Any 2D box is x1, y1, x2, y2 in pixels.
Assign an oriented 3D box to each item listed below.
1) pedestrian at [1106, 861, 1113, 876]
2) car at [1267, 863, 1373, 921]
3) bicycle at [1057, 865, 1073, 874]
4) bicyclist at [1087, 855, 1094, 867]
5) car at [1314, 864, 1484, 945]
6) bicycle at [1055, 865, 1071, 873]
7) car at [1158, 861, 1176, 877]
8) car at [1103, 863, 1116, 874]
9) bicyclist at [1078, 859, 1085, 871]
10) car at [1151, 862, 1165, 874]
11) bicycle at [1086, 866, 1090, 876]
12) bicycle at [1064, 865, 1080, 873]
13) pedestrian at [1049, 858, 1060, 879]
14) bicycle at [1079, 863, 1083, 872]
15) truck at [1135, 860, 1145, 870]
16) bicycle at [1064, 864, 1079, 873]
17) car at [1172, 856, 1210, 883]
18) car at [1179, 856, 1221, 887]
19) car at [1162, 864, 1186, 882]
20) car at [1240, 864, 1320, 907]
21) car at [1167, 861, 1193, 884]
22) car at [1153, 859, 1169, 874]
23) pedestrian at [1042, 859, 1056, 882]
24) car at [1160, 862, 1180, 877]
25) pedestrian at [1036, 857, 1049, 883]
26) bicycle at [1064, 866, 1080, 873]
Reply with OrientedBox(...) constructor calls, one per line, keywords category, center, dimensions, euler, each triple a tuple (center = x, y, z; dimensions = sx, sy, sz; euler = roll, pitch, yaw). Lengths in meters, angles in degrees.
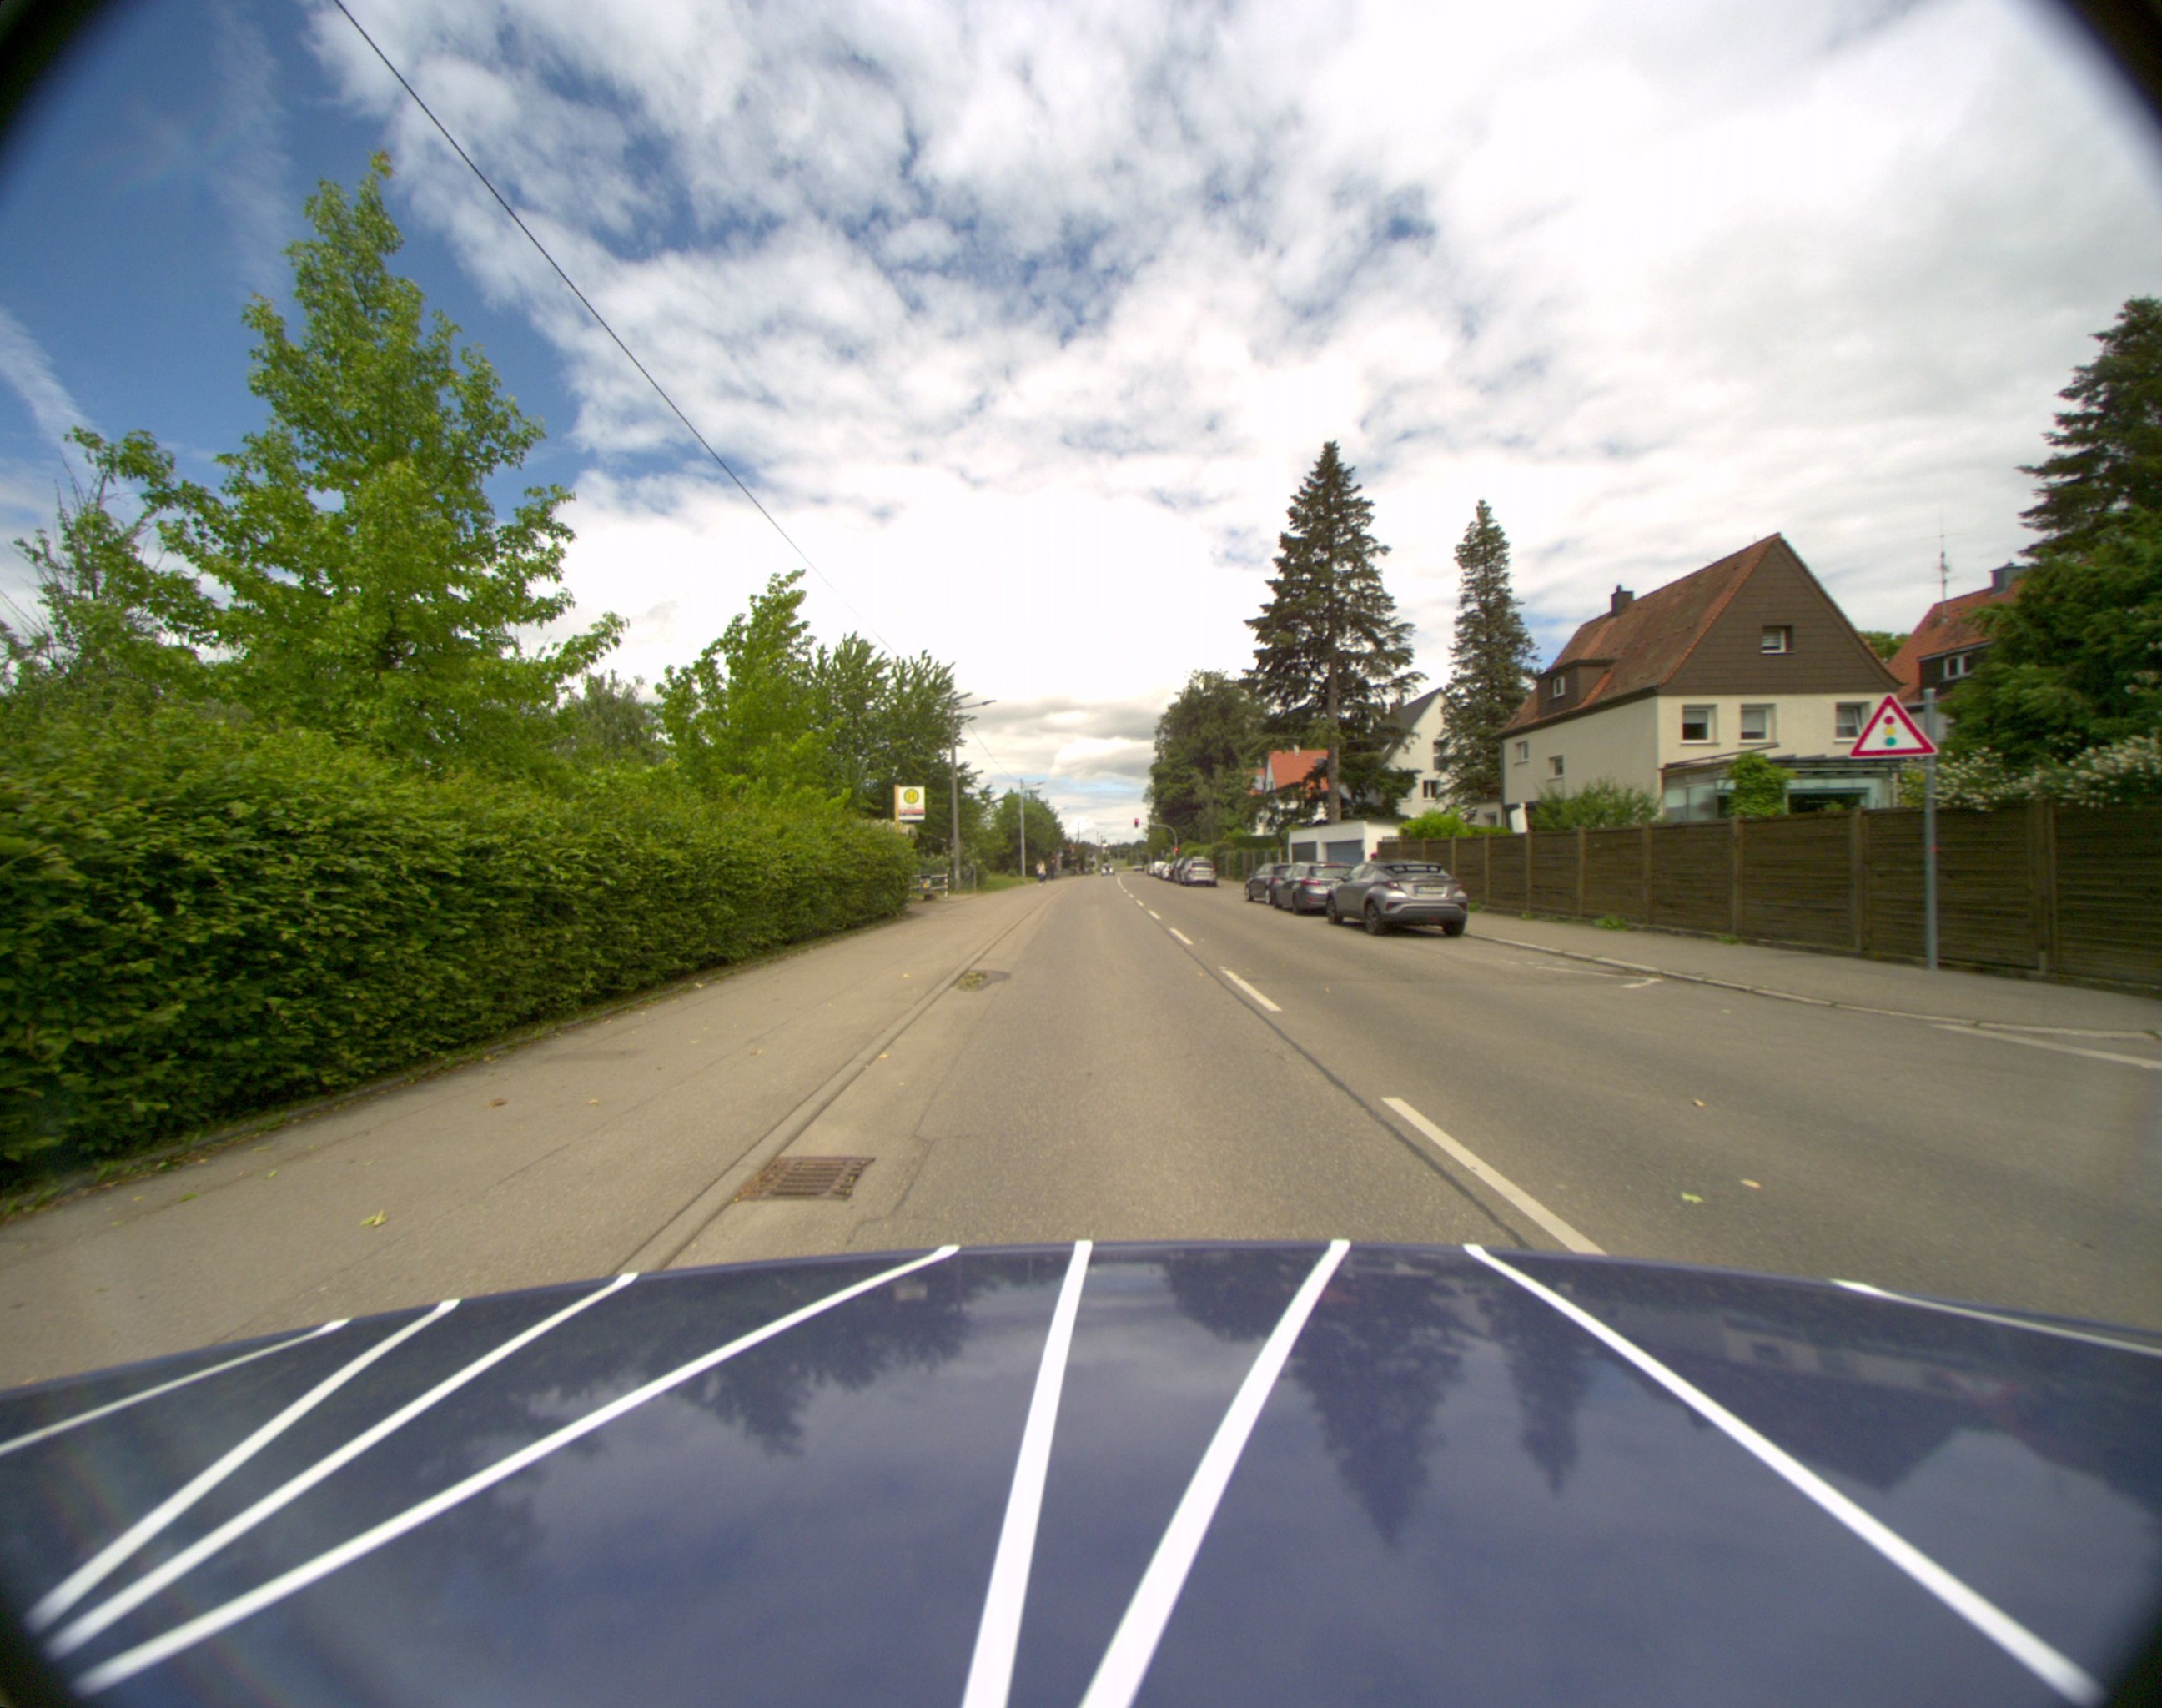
OrientedBox(category="pedestrian", center=(3.283, 1.648, 86.328), dimensions=(0.649, 1.654, 0.708), euler=(-2, 0, 8))
OrientedBox(category="car", center=(6.797, 1.016, 22.127), dimensions=(1.871, 1.450, 4.490), euler=(-1, 0, 3))
OrientedBox(category="bicycle", center=(-2.153, 2.091, 101.872), dimensions=(2.093, 1.041, 0.559), euler=(-4, 0, 6))
OrientedBox(category="bicyclist", center=(1.224, 0.895, 101.329), dimensions=(0.826, 1.529, 0.862), euler=(-2, 0, 1))
OrientedBox(category="car", center=(6.687, 0.977, 16.601), dimensions=(1.998, 1.471, 4.648), euler=(0, 0, 4))
OrientedBox(category="bicycle", center=(-2.379, 2.014, 100.478), dimensions=(2.092, 1.074, 0.547), euler=(0, 0, 6))
OrientedBox(category="car", center=(8.753, 1.511, 77.828), dimensions=(1.706, 1.534, 3.744), euler=(1, -1, 5))
OrientedBox(category="car", center=(3.798, 1.958, 100.939), dimensions=(1.665, 1.394, 3.901), euler=(-1, -1, 4))
OrientedBox(category="bicyclist", center=(0.070, 1.447, 100.394), dimensions=(0.826, 1.529, 0.862), euler=(-1, 0, 3))
OrientedBox(category="car", center=(9.960, 1.809, 98.115), dimensions=(1.708, 1.444, 4.360), euler=(2, 0, 7))
OrientedBox(category="bicycle", center=(0.981, 2.206, 101.303), dimensions=(0.451, 1.278, 2.208), euler=(-2, 0, -1))
OrientedBox(category="bicycle", center=(-1.274, 2.189, 108.902), dimensions=(2.206, 1.041, 0.451), euler=(-1, 0, 2))
OrientedBox(category="pedestrian", center=(-2.402, 1.318, 68.763), dimensions=(0.746, 1.871, 0.802), euler=(-2, 0, 9))
OrientedBox(category="bicycle", center=(0.003, 1.776, 100.227), dimensions=(0.451, 1.142, 2.208), euler=(-1, 0, 3))
OrientedBox(category="truck", center=(13.372, 2.521, 173.063), dimensions=(2.194, 2.357, 6.907), euler=(0, -1, 4))
OrientedBox(category="bicycle", center=(-1.352, 2.091, 107.911), dimensions=(2.093, 1.144, 0.530), euler=(-2, 0, 1))
OrientedBox(category="car", center=(7.758, 1.043, 53.953), dimensions=(2.072, 1.744, 4.884), euler=(-2, 0, 1))
OrientedBox(category="car", center=(7.404, 1.075, 47.684), dimensions=(1.989, 1.808, 4.709), euler=(-1, -1, 2))
OrientedBox(category="car", center=(8.130, 1.619, 66.636), dimensions=(1.809, 1.450, 5.071), euler=(1, -1, 4))
OrientedBox(category="car", center=(6.976, 1.072, 27.043), dimensions=(1.656, 1.418, 3.905), euler=(0, -1, -3))
OrientedBox(category="car", center=(7.774, 1.425, 59.987), dimensions=(1.630, 1.668, 4.585), euler=(1, -1, 2))
OrientedBox(category="car", center=(9.722, 1.515, 92.991), dimensions=(1.680, 1.748, 4.609), euler=(1, -1, 3))
OrientedBox(category="pedestrian", center=(-2.381, 1.250, 56.964), dimensions=(0.841, 1.649, 0.766), euler=(-2, 0, 7))
OrientedBox(category="car", center=(8.395, 1.457, 72.236), dimensions=(1.746, 1.402, 4.325), euler=(1, -1, 5))
OrientedBox(category="pedestrian", center=(-2.568, 1.069, 50.837), dimensions=(0.687, 1.649, 0.690), euler=(-2, 0, 7))
OrientedBox(category="bicycle", center=(-1.246, 2.188, 108.406), dimensions=(2.206, 0.932, 0.451), euler=(-2, 0, 1))
